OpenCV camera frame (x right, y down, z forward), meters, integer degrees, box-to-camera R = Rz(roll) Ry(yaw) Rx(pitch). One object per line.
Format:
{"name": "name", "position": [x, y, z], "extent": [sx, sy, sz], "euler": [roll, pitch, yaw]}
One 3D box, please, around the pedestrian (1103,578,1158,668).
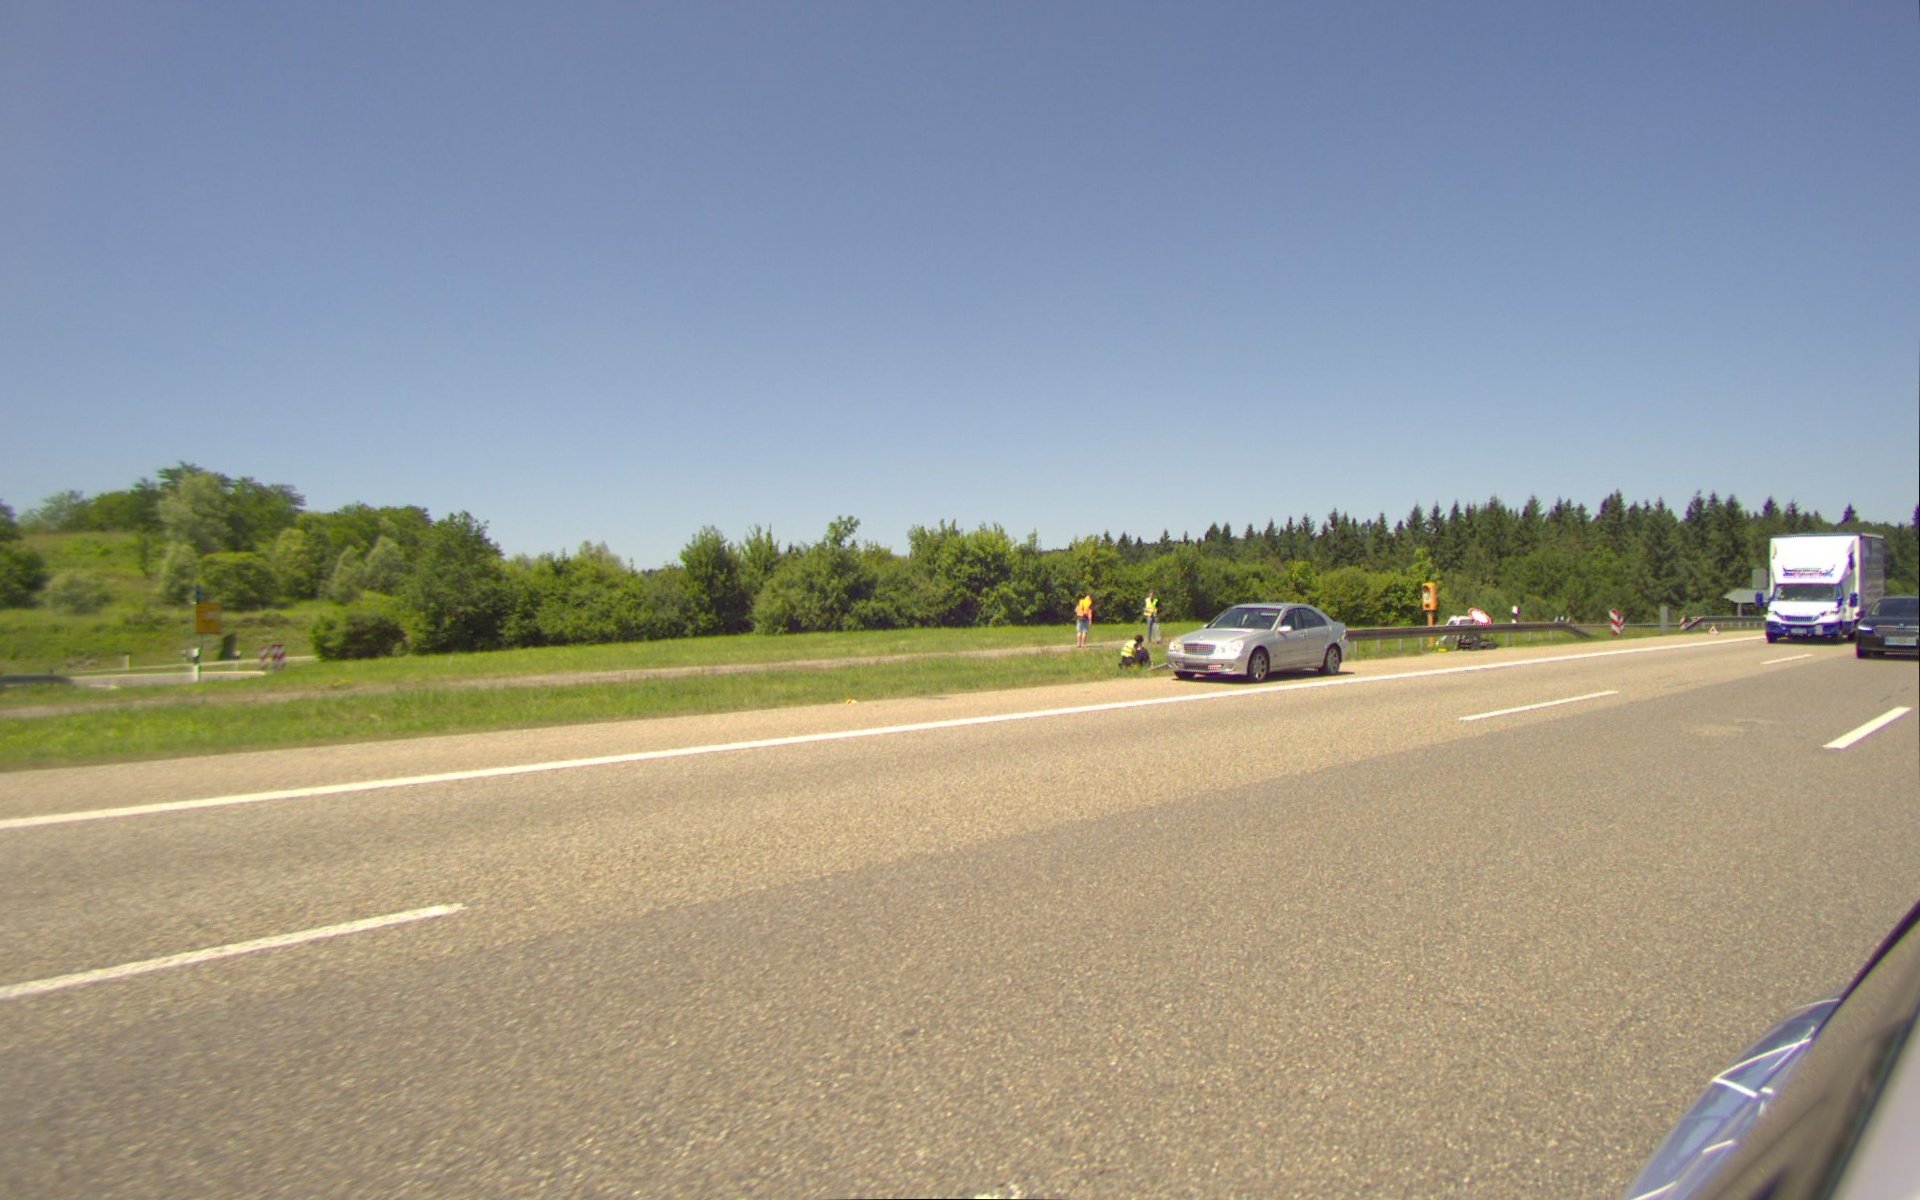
{"name": "pedestrian", "position": [3.868, 0.528, 23.048], "extent": [0.990, 1.991, 0.774], "euler": [-2, -3, -4]}

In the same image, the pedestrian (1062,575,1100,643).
{"name": "pedestrian", "position": [3.838, 0.290, 32.188], "extent": [0.912, 2.107, 0.689], "euler": [0, -3, -41]}

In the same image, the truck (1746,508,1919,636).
{"name": "truck", "position": [32.489, -0.946, 37.520], "extent": [9.561, 4.182, 2.789], "euler": [-1, -2, -38]}

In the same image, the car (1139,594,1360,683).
{"name": "car", "position": [5.567, 0.649, 19.108], "extent": [4.684, 1.458, 1.717], "euler": [-1, -1, -41]}

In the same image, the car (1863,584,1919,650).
{"name": "car", "position": [25.169, 0.461, 26.304], "extent": [4.378, 1.640, 1.988], "euler": [2, -1, -41]}

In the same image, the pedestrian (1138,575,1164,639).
{"name": "pedestrian", "position": [6.386, 0.241, 33.917], "extent": [0.678, 2.107, 0.926], "euler": [-3, -3, 5]}
